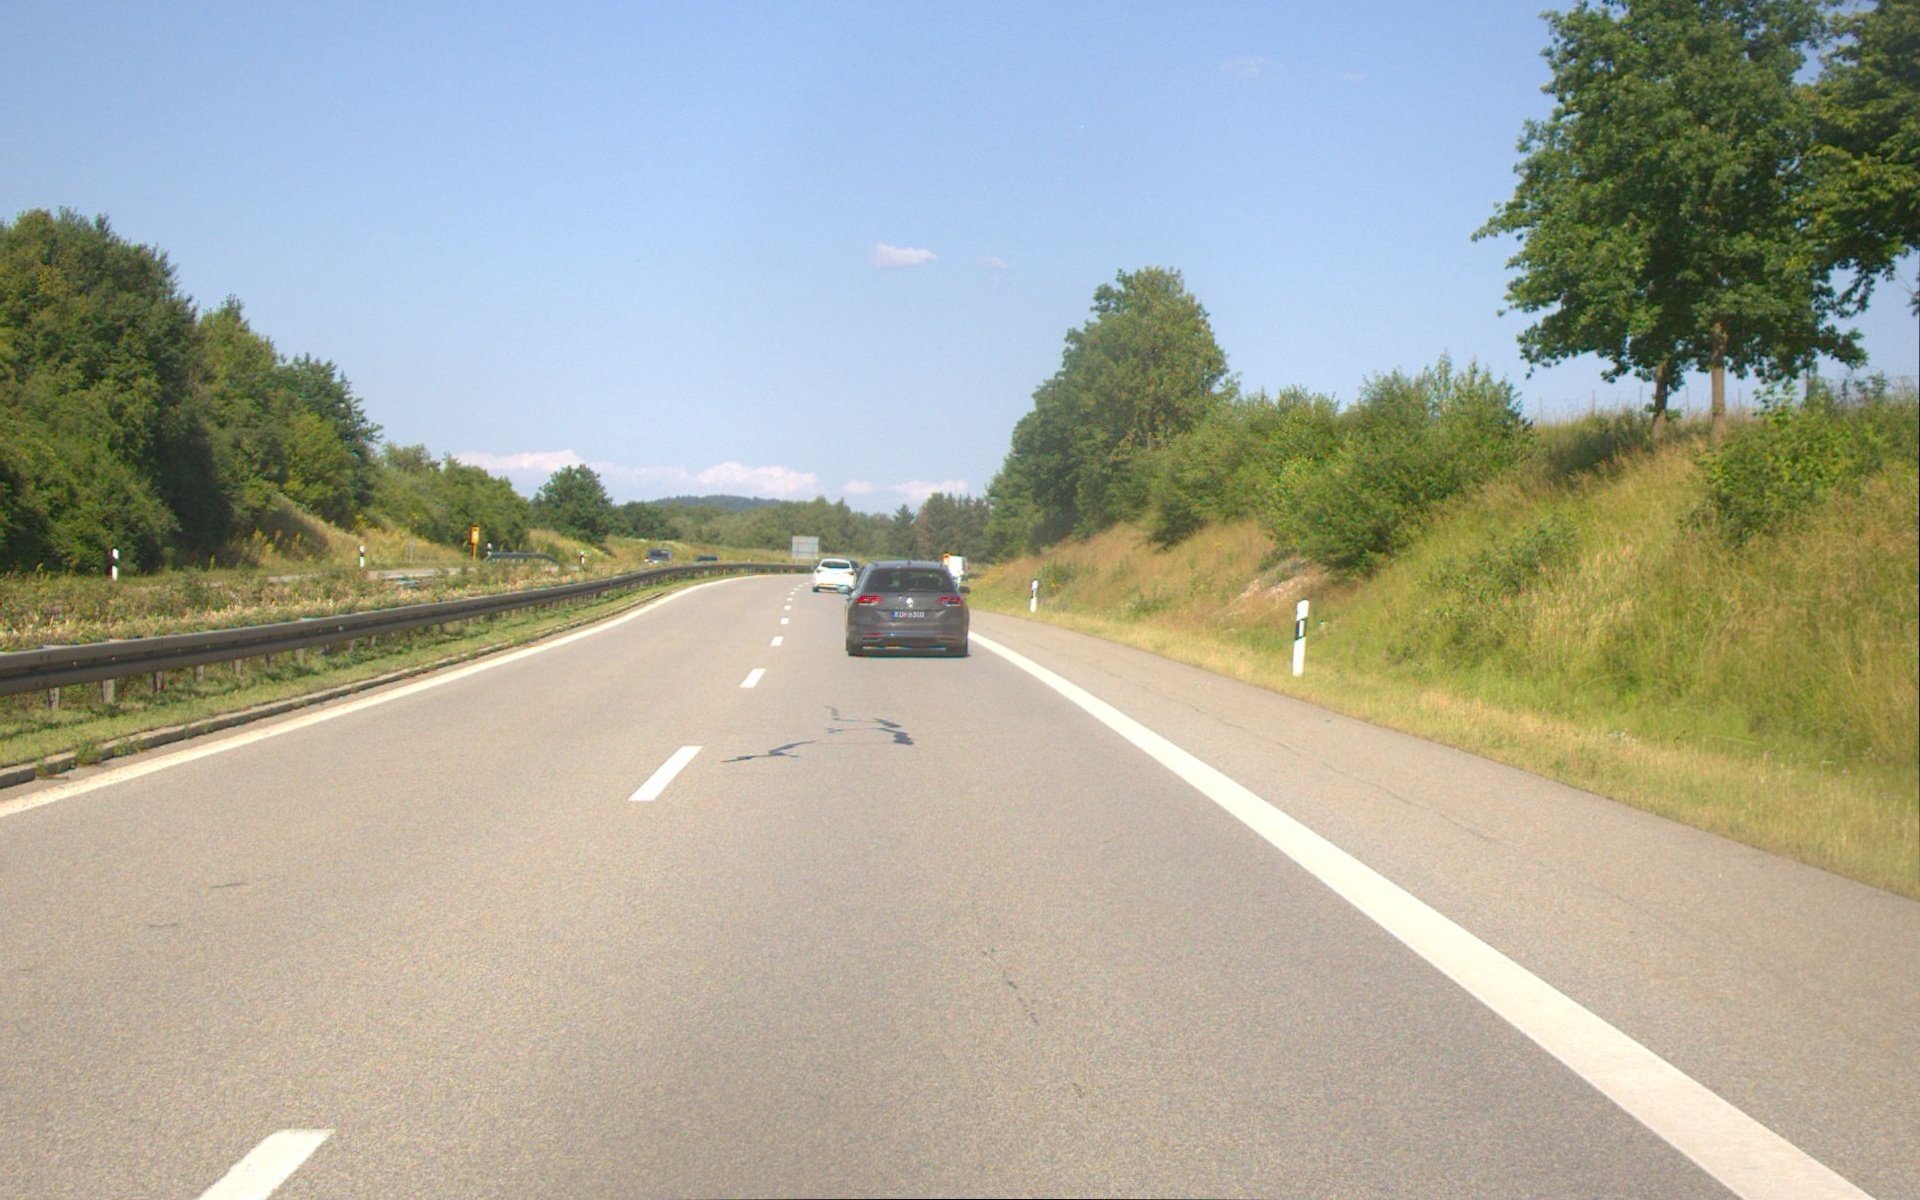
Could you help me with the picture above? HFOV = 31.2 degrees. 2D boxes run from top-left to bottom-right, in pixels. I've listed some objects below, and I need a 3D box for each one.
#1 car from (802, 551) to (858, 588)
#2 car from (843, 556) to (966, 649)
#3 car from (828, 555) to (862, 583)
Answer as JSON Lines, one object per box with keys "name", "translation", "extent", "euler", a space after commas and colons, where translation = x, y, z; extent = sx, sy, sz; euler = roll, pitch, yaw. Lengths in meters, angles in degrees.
{"name": "car", "translation": [-5.436, -1.262, 143.537], "extent": [2.007, 1.340, 4.001], "euler": [6, 0, -5]}
{"name": "car", "translation": [-0.844, 0.016, 52.014], "extent": [1.791, 1.340, 4.000], "euler": [0, 1, -1]}
{"name": "car", "translation": [-6.427, -1.734, 192.046], "extent": [1.710, 1.382, 3.355], "euler": [6, 0, -1]}
